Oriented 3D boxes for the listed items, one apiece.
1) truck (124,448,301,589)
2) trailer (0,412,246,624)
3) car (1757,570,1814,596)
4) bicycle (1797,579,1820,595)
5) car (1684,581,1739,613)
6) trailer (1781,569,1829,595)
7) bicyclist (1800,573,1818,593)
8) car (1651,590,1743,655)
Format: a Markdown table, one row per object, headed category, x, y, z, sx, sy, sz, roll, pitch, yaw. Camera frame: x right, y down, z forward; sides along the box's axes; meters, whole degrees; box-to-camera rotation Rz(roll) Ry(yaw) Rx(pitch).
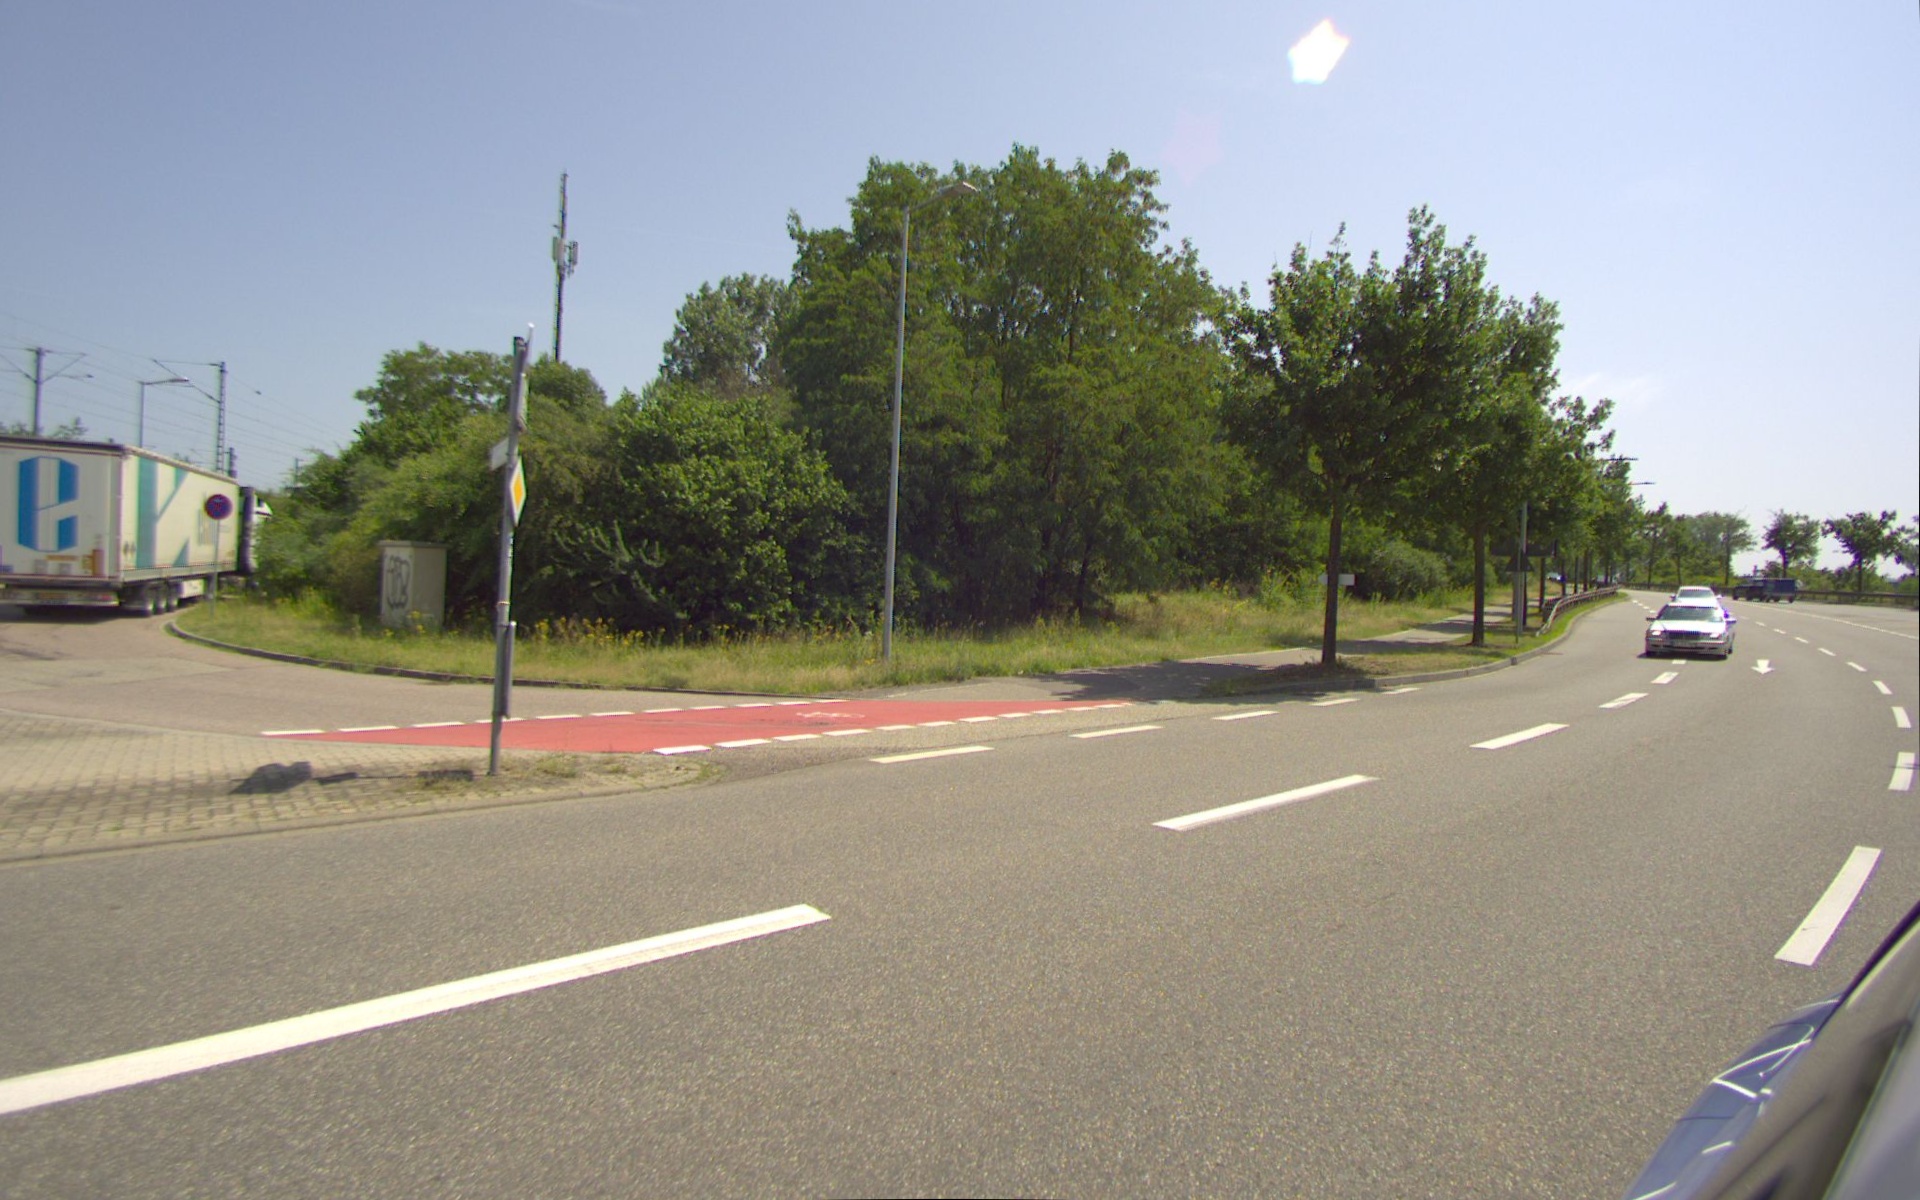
| category | x | y | z | sx | sy | sz | roll | pitch | yaw |
| --- | --- | --- | --- | --- | --- | --- | --- | --- | --- |
| truck | -26.393 | -2.825 | 36.115 | 3.021 | 4.421 | 6.095 | 3 | 3 | -16 |
| trailer | -22.978 | -2.236 | 28.145 | 3.025 | 4.421 | 14.805 | 2 | 3 | -28 |
| car | 56.949 | -1.161 | 69.905 | 1.899 | 1.673 | 4.373 | 1 | 1 | 23 |
| bicycle | 67.653 | -1.054 | 80.701 | 0.728 | 1.129 | 2.033 | 5 | 4 | 21 |
| car | 35.299 | -0.161 | 47.518 | 1.989 | 1.387 | 4.176 | 1 | 1 | 37 |
| trailer | 55.416 | -1.162 | 66.399 | 1.493 | 1.635 | 3.282 | 1 | 0 | 23 |
| bicyclist | 67.638 | -1.365 | 80.608 | 0.723 | 1.483 | 0.819 | 5 | 4 | 20 |
| car | 19.493 | 0.526 | 26.693 | 1.756 | 1.518 | 4.174 | 1 | 1 | 39 |
